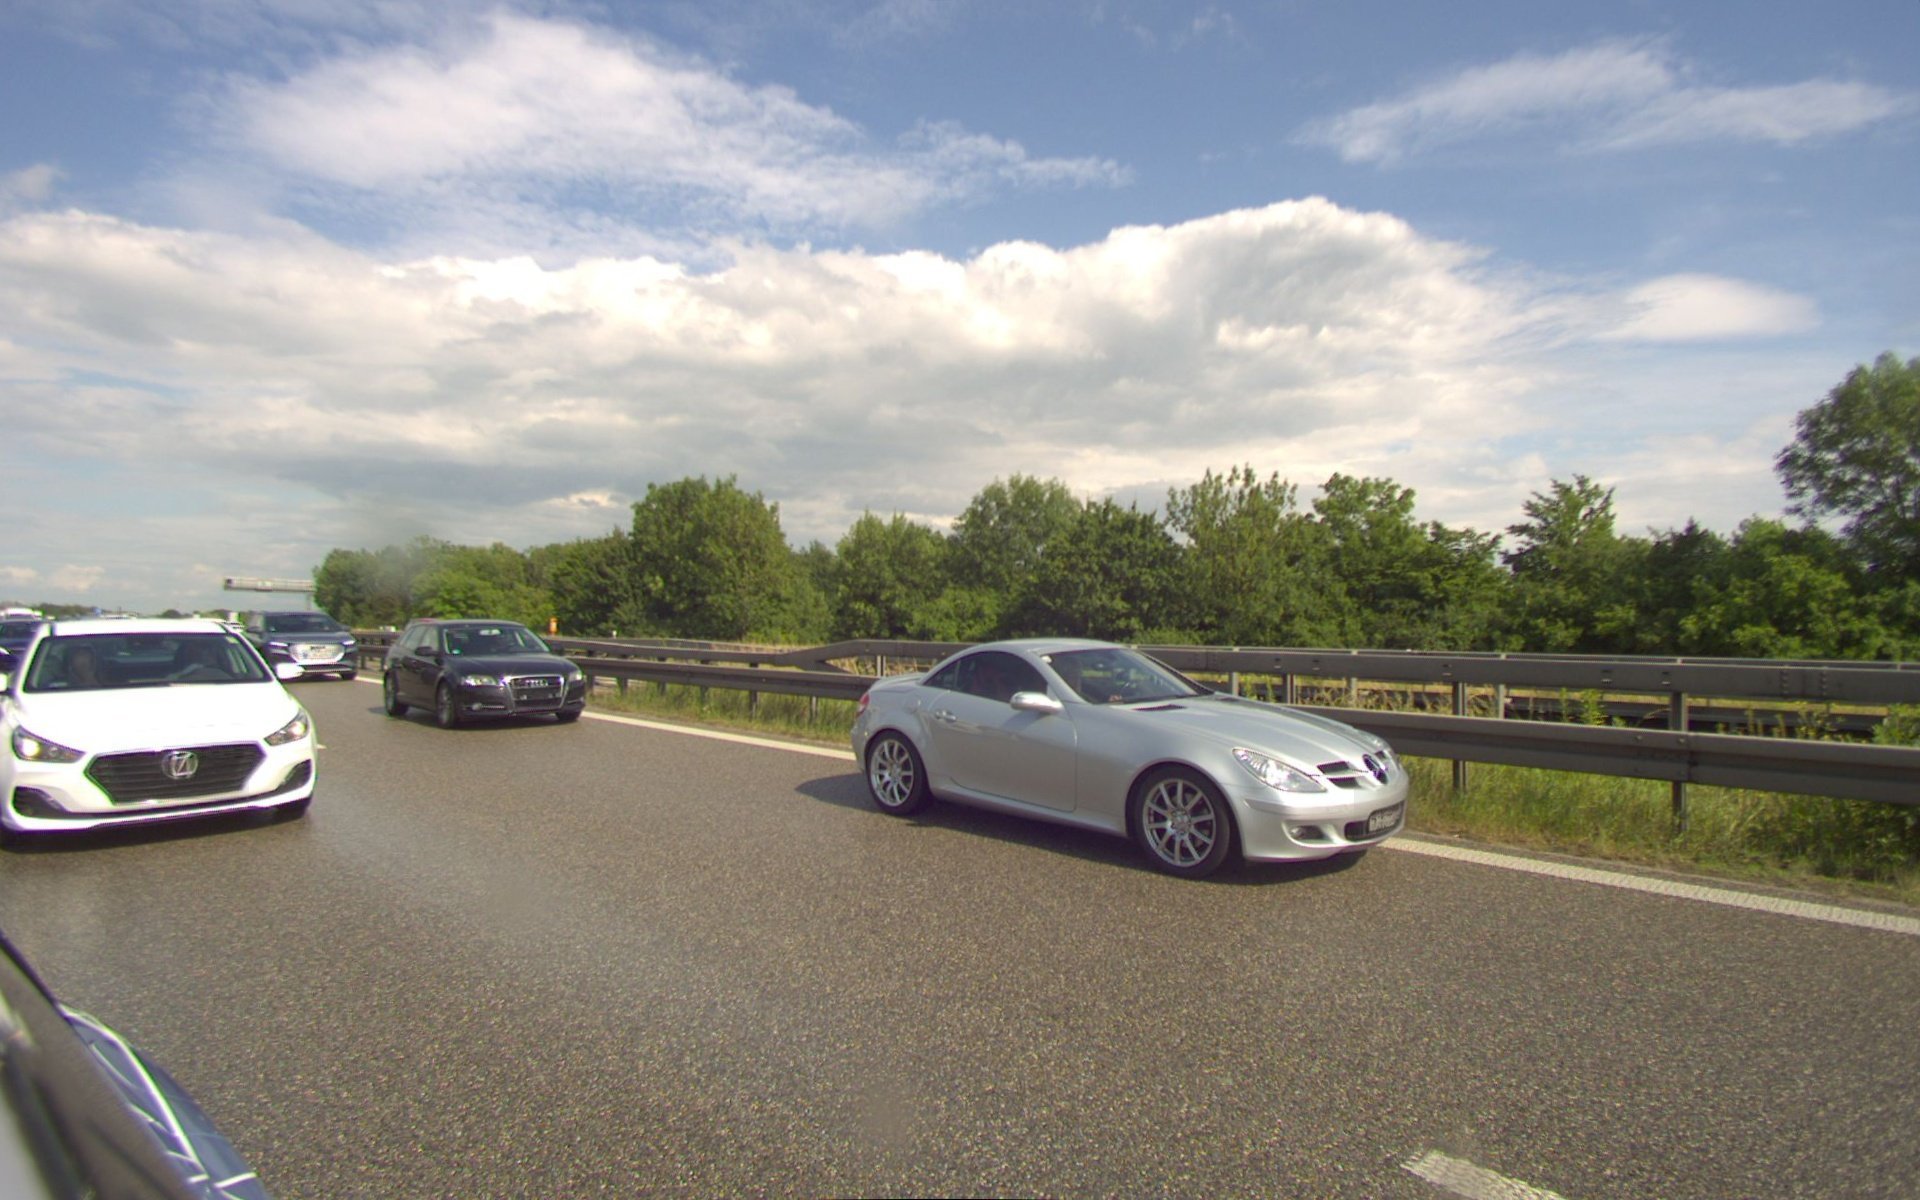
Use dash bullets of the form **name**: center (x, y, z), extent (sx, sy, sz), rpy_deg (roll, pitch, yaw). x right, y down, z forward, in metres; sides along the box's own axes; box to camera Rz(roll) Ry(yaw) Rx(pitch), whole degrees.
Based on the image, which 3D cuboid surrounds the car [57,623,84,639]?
- **car**: center (-101.707, 3.495, 115.714), extent (4.002, 1.710, 1.971), rpy_deg (0, 1, 45)

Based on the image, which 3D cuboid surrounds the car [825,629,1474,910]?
- **car**: center (1.008, 0.856, 6.829), extent (1.705, 1.288, 4.065), rpy_deg (1, -1, -45)

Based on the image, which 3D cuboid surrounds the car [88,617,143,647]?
- **car**: center (-47.246, 1.744, 56.577), extent (4.002, 1.490, 1.971), rpy_deg (0, 1, 45)

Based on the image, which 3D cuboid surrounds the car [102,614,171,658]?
- **car**: center (-36.882, 1.566, 45.287), extent (4.002, 1.762, 1.971), rpy_deg (0, 1, 45)

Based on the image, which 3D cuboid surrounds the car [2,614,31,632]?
- **car**: center (-93.945, 2.258, 100.760), extent (4.002, 1.710, 1.971), rpy_deg (0, 1, 45)

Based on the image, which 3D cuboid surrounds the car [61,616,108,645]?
- **car**: center (-56.826, 1.924, 65.674), extent (4.002, 1.710, 1.971), rpy_deg (0, 1, 45)

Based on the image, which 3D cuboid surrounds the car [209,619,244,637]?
- **car**: center (-71.286, 2.734, 98.342), extent (4.462, 1.700, 1.971), rpy_deg (-1, -2, 44)

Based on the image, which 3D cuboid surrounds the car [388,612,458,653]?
- **car**: center (-28.369, 1.682, 53.441), extent (4.655, 2.029, 1.971), rpy_deg (-1, -1, 44)

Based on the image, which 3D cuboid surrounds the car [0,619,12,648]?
- **car**: center (-54.407, 1.892, 56.508), extent (4.002, 1.490, 1.971), rpy_deg (0, 1, 45)

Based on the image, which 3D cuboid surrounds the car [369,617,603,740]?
- **car**: center (-6.759, 0.973, 14.223), extent (1.746, 1.436, 4.142), rpy_deg (0, 0, -44)

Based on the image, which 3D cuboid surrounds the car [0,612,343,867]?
- **car**: center (-6.572, 0.844, 8.018), extent (1.860, 1.466, 4.550), rpy_deg (1, -1, -45)

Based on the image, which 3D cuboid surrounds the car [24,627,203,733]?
- **car**: center (-12.921, 1.106, 15.355), extent (1.705, 1.348, 4.289), rpy_deg (1, -1, -45)

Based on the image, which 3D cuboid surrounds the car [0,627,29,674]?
- **car**: center (-33.996, 1.765, 35.376), extent (4.002, 1.490, 1.971), rpy_deg (0, 1, 45)

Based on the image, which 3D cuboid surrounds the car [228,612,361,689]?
- **car**: center (-15.520, 1.108, 23.527), extent (1.848, 1.618, 4.232), rpy_deg (0, -1, -44)

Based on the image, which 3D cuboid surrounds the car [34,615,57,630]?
- **car**: center (-117.087, 2.843, 129.595), extent (4.002, 1.710, 1.971), rpy_deg (0, 1, 45)

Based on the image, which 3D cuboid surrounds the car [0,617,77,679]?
- **car**: center (-25.020, 1.232, 26.937), extent (4.002, 1.497, 1.971), rpy_deg (0, -1, 45)

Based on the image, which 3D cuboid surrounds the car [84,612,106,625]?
- **car**: center (-117.254, 2.486, 137.149), extent (1.970, 1.792, 4.464), rpy_deg (1, -1, -44)

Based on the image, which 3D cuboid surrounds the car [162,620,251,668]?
- **car**: center (-24.606, 1.390, 33.001), extent (4.002, 1.389, 1.747), rpy_deg (0, -1, 45)
